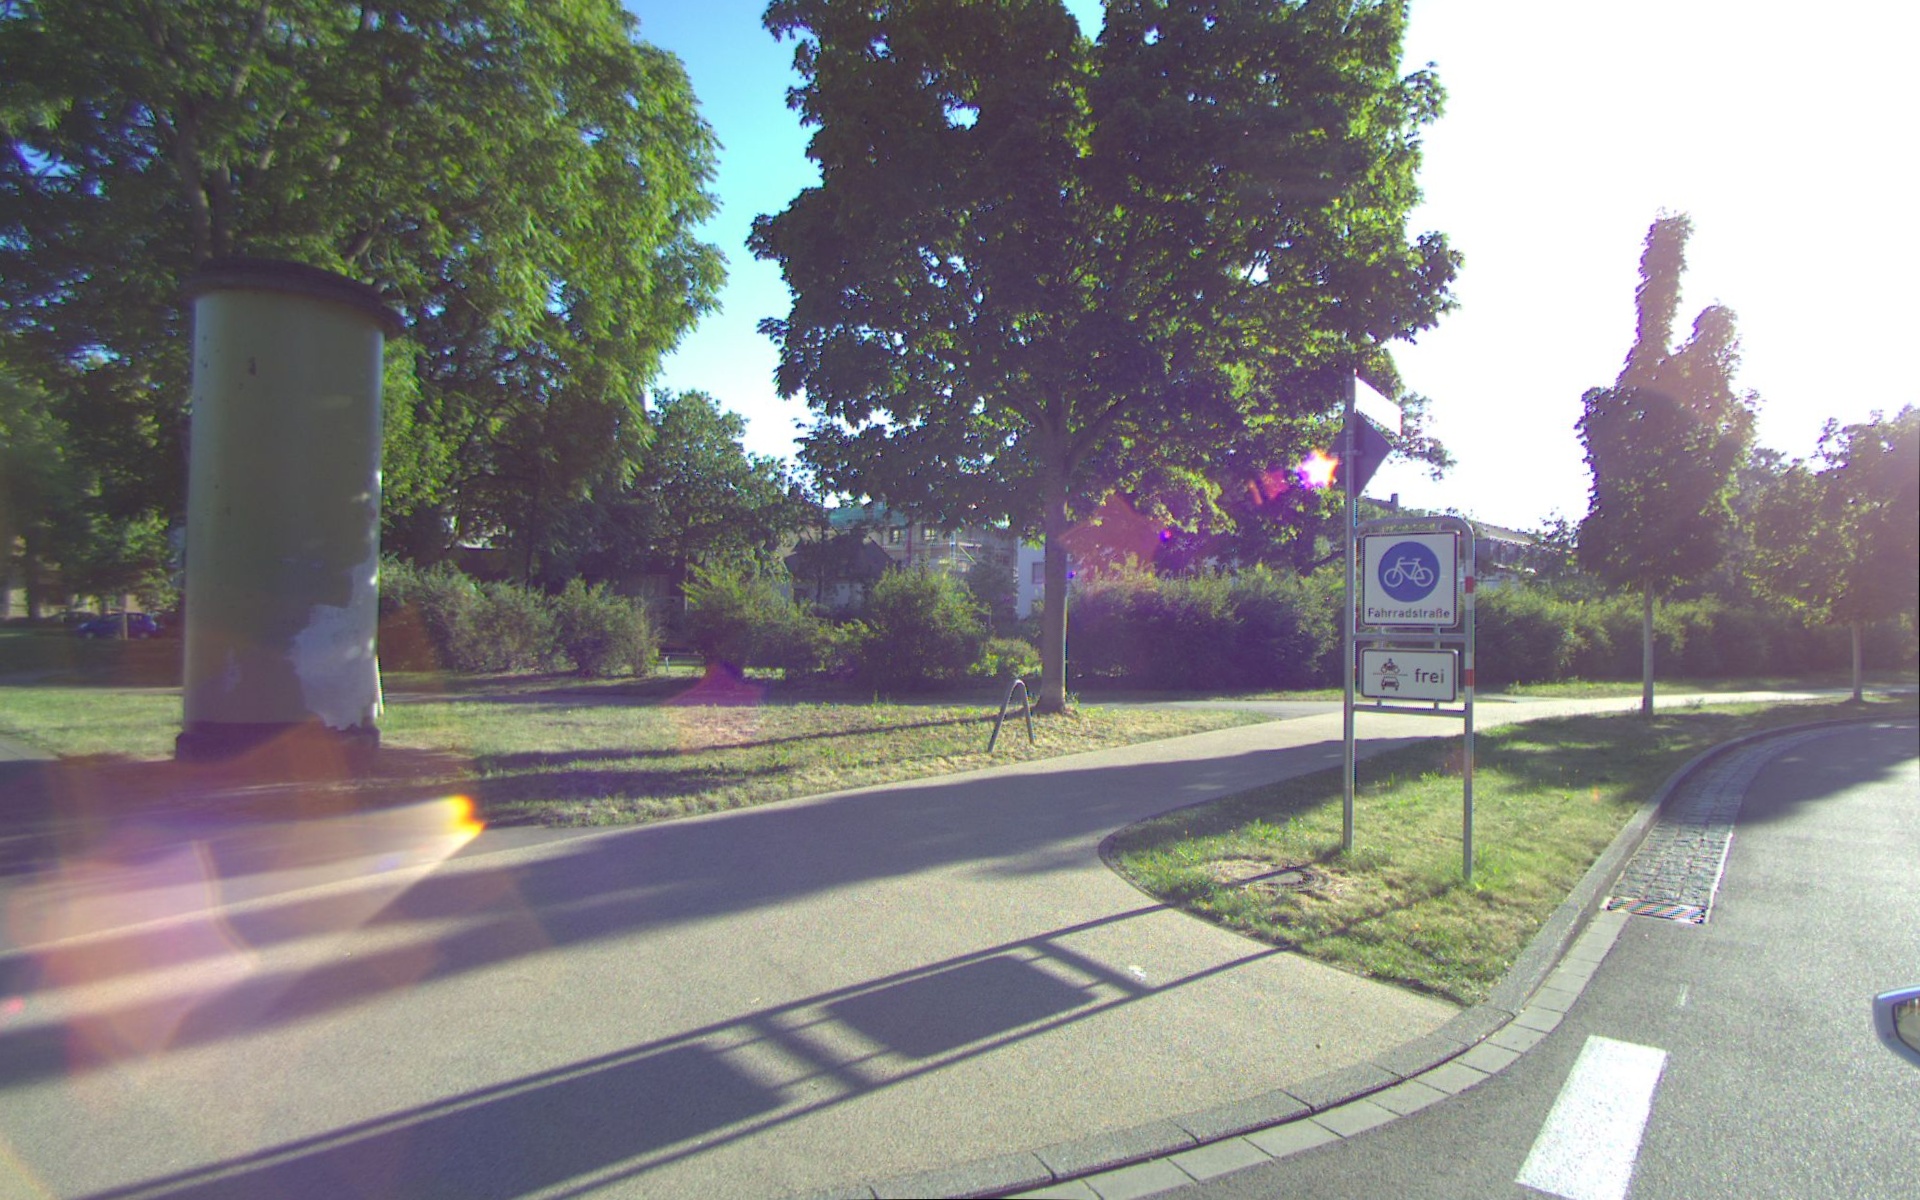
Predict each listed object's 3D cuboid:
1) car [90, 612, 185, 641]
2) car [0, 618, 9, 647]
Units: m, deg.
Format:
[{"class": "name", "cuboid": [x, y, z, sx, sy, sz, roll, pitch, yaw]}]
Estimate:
[{"class": "car", "cuboid": [-43.514, 1.396, 53.228, 3.518, 1.517, 1.669, 0, -1, -18]}, {"class": "car", "cuboid": [-50.865, 1.632, 50.853, 3.518, 1.517, 1.683, 1, -1, -18]}]
